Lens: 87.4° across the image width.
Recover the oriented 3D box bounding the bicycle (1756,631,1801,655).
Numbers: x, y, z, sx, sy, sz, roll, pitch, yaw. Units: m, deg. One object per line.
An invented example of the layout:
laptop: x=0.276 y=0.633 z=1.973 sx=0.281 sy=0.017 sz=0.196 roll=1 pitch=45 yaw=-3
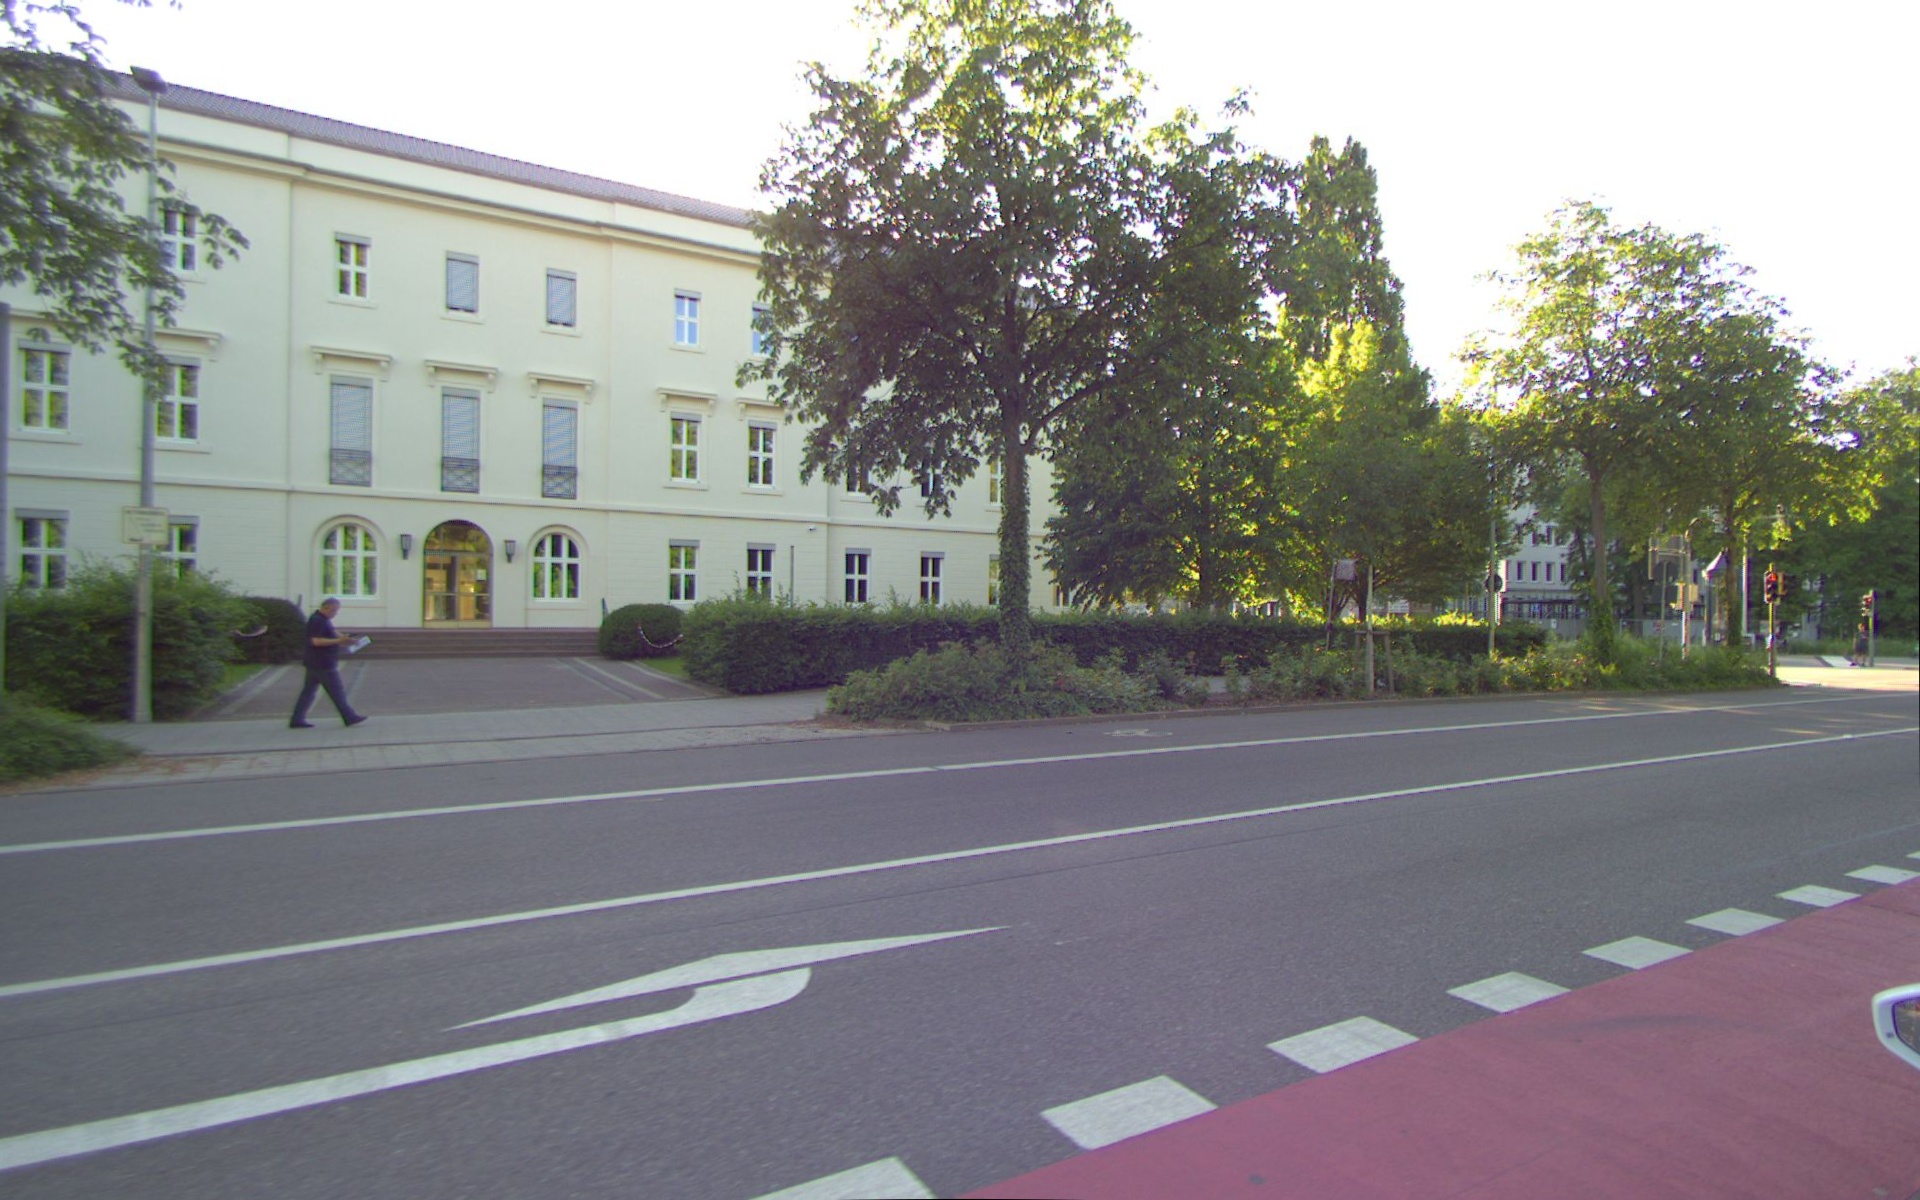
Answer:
bicycle: x=44.328 y=2.321 z=54.405 sx=0.287 sy=1.163 sz=1.849 roll=1 pitch=0 yaw=-35

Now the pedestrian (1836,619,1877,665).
pedestrian: x=41.193 y=1.922 z=46.167 sx=1.174 sy=2.040 sz=0.992 roll=2 pitch=0 yaw=-24

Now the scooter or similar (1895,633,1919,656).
scooter or similar: x=48.706 y=2.278 z=50.932 sx=1.882 sy=1.139 sz=0.713 roll=2 pitch=0 yaw=4

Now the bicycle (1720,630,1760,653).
bicycle: x=43.629 y=2.302 z=56.173 sx=0.435 sy=1.163 sz=1.862 roll=2 pitch=0 yaw=-15

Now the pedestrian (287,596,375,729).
pedestrian: x=-8.589 y=0.831 z=13.719 sx=0.959 sy=1.743 sz=0.829 roll=1 pitch=-1 yaw=-36
